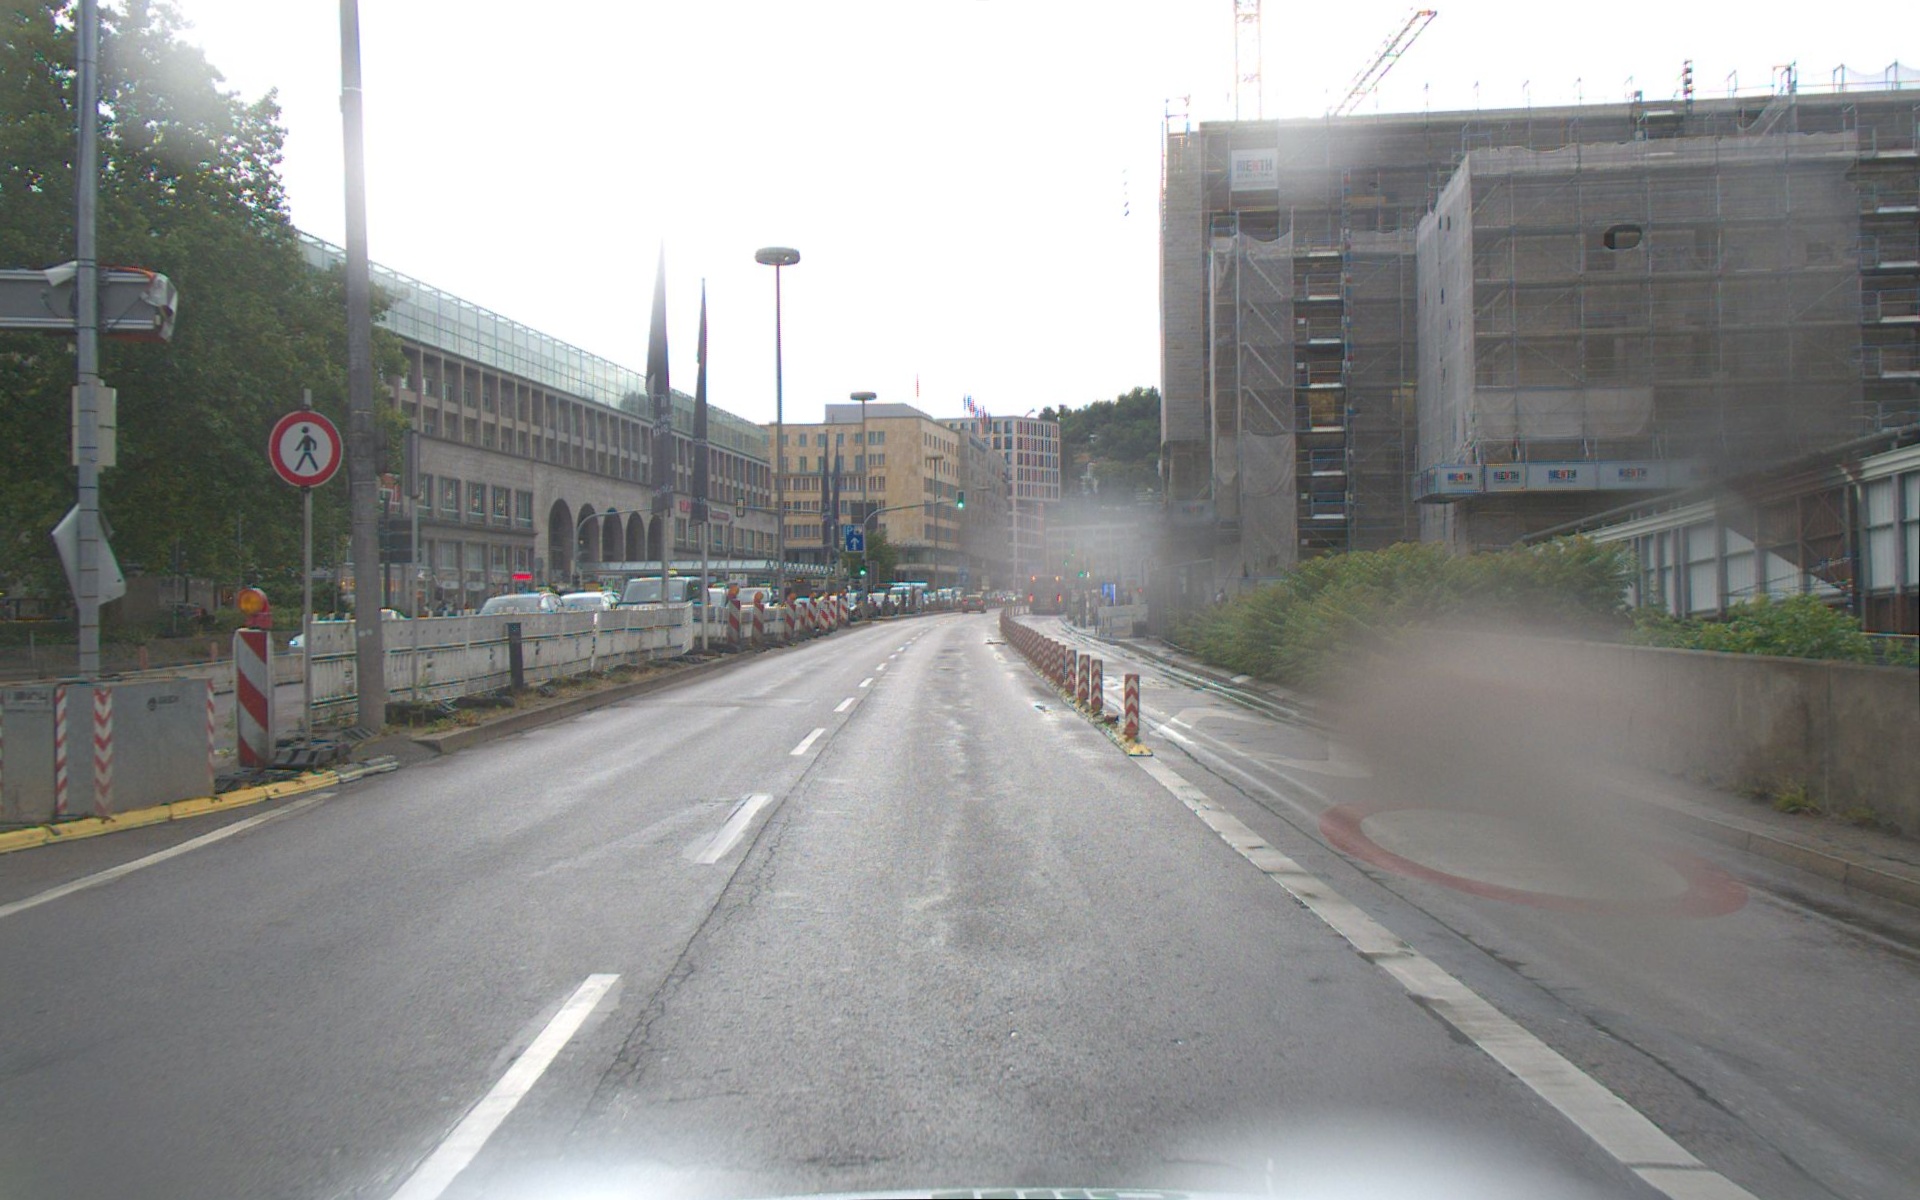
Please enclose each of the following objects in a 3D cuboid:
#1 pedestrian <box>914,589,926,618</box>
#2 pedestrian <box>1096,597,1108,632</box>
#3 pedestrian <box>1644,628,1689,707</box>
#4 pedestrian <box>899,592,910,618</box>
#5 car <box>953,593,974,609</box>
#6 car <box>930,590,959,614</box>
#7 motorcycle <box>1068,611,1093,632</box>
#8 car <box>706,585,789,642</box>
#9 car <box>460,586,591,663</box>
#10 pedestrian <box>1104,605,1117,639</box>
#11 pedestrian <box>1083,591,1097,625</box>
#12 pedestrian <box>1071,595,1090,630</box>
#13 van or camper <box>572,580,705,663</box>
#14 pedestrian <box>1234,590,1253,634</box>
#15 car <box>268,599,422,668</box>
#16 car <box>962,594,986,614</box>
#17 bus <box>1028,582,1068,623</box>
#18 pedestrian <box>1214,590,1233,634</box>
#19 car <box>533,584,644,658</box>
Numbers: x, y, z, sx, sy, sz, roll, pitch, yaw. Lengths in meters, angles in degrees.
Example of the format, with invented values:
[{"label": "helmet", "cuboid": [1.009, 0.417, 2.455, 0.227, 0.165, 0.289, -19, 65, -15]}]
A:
[{"label": "pedestrian", "cuboid": [-2.740, 0.241, 114.568, 0.707, 2.043, 0.773, 1, -1, 6]}, {"label": "pedestrian", "cuboid": [7.337, 0.737, 85.453, 0.546, 1.782, 0.712, -3, -1, 7]}, {"label": "pedestrian", "cuboid": [17.100, 1.623, 40.055, 0.658, 1.864, 1.014, 0, -1, -1]}, {"label": "pedestrian", "cuboid": [-3.860, 0.326, 114.811, 0.683, 1.785, 0.712, 0, -1, 6]}, {"label": "car", "cuboid": [0.404, 0.149, 172.900, 1.952, 1.579, 4.001, -1, -1, 4]}, {"label": "car", "cuboid": [-1.432, 0.197, 154.690, 1.951, 2.217, 5.548, -1, -1, 7]}, {"label": "motorcycle", "cuboid": [6.081, 1.072, 83.481, 0.580, 1.039, 1.223, 0, -1, -37]}, {"label": "car", "cuboid": [-7.276, 0.438, 57.115, 1.952, 1.849, 4.813, -1, 0, 3]}, {"label": "car", "cuboid": [-10.549, 0.577, 40.477, 1.851, 1.732, 4.303, 1, 0, 3]}, {"label": "pedestrian", "cuboid": [7.519, 1.093, 82.606, 0.546, 1.679, 0.615, -3, -1, 7]}, {"label": "pedestrian", "cuboid": [6.967, 0.430, 88.541, 0.547, 1.790, 0.750, -3, -1, -8]}, {"label": "pedestrian", "cuboid": [6.069, 0.646, 83.500, 0.575, 1.771, 0.811, 1, -1, -37]}, {"label": "van or camper", "cuboid": [-7.843, 0.544, 40.844, 1.905, 1.851, 5.394, -2, -1, 3]}, {"label": "pedestrian", "cuboid": [12.197, 0.537, 71.172, 0.658, 1.864, 1.014, 0, -1, -1]}, {"label": "car", "cuboid": [-15.954, 0.834, 43.205, 1.952, 1.660, 4.820, 1, 0, 3]}, {"label": "car", "cuboid": [1.160, 0.328, 135.141, 1.952, 1.579, 4.000, -1, -1, 1]}, {"label": "bus", "cuboid": [7.293, 0.265, 135.515, 2.697, 3.123, 9.085, 1, -1, 6]}, {"label": "pedestrian", "cuboid": [11.312, 0.522, 71.111, 0.658, 1.864, 1.014, 0, -1, -1]}, {"label": "car", "cuboid": [-10.655, 0.596, 47.768, 1.875, 1.883, 4.567, 5, 0, 2]}]
